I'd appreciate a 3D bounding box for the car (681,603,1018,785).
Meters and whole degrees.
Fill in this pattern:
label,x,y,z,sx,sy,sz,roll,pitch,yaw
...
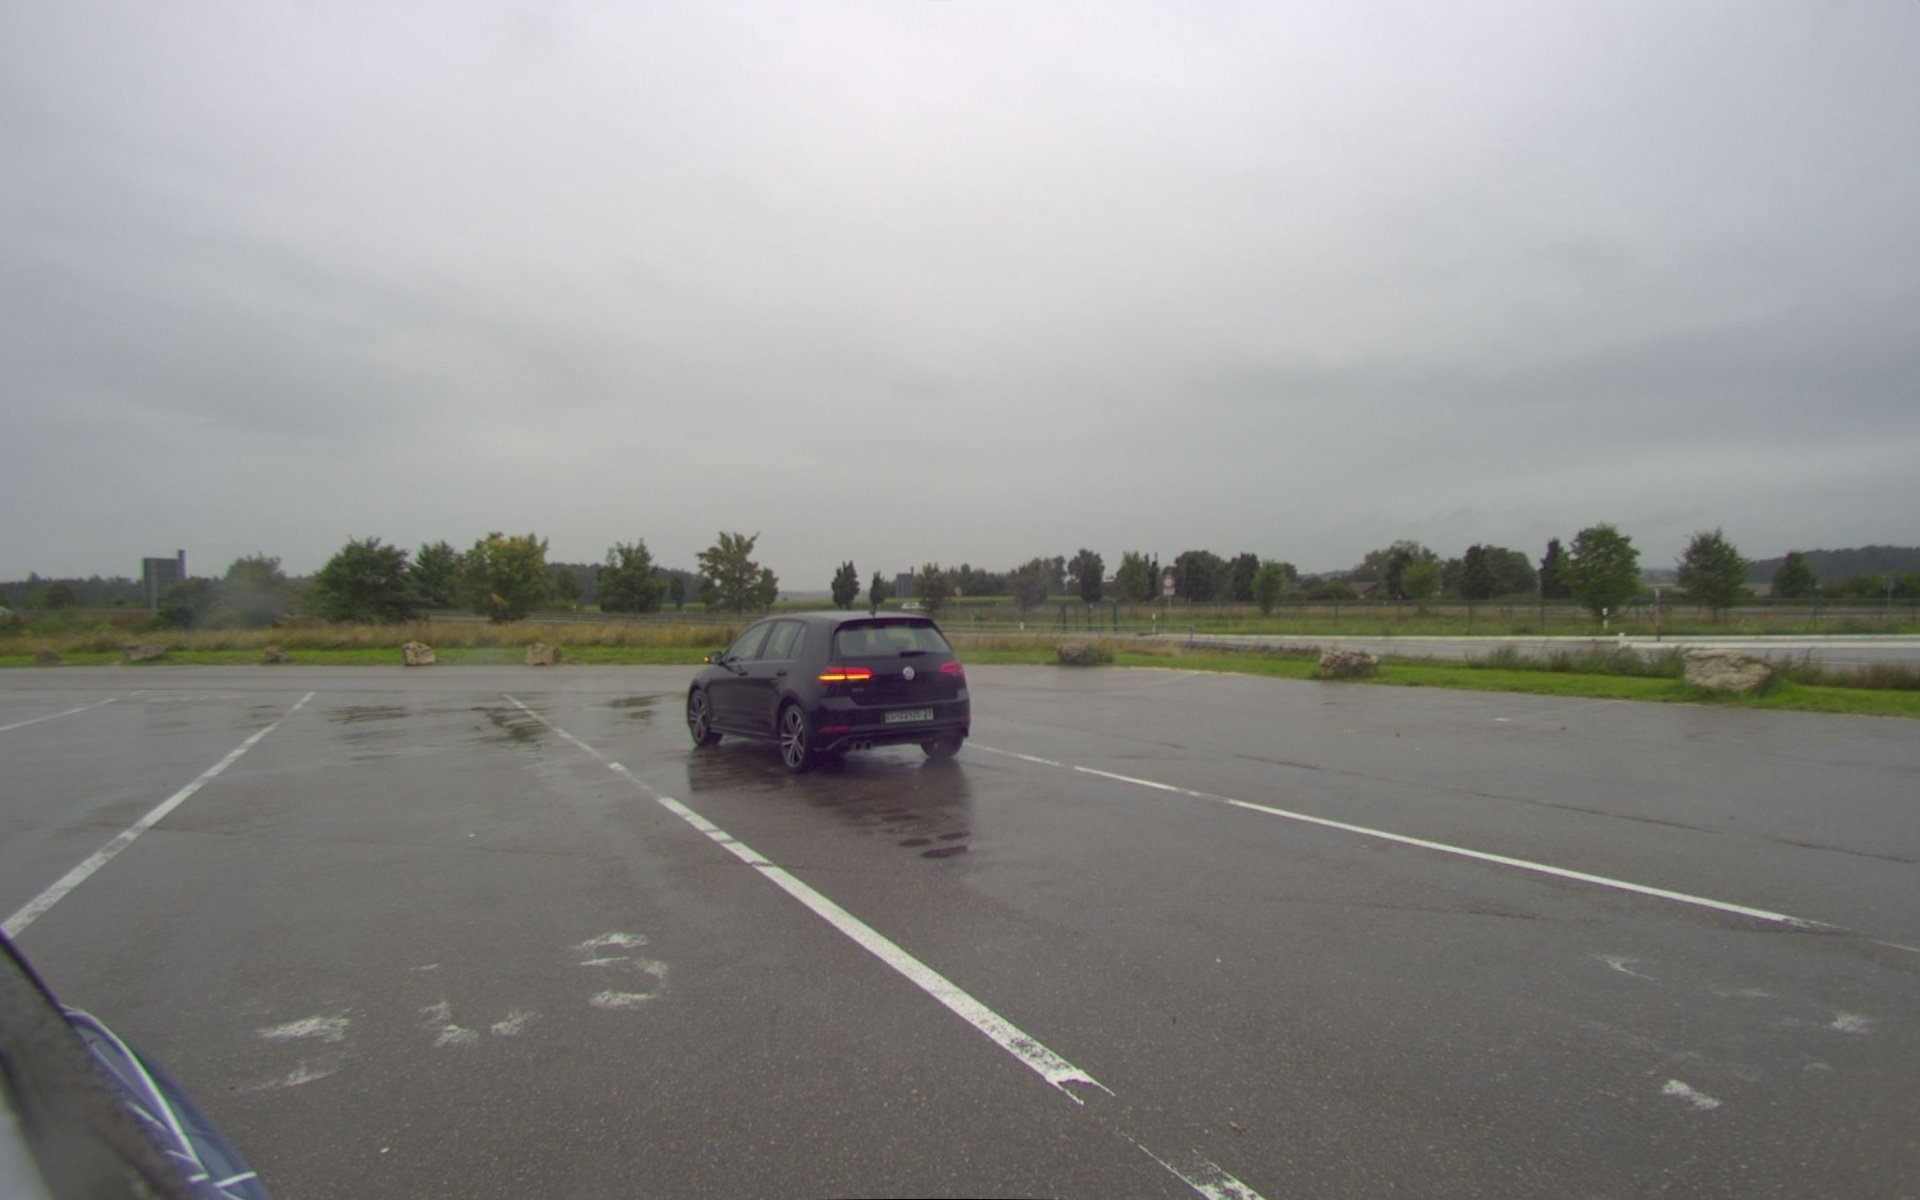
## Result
label,x,y,z,sx,sy,sz,roll,pitch,yaw
car,-1.338,0.800,10.343,1.750,1.444,4.089,-1,-1,-33
